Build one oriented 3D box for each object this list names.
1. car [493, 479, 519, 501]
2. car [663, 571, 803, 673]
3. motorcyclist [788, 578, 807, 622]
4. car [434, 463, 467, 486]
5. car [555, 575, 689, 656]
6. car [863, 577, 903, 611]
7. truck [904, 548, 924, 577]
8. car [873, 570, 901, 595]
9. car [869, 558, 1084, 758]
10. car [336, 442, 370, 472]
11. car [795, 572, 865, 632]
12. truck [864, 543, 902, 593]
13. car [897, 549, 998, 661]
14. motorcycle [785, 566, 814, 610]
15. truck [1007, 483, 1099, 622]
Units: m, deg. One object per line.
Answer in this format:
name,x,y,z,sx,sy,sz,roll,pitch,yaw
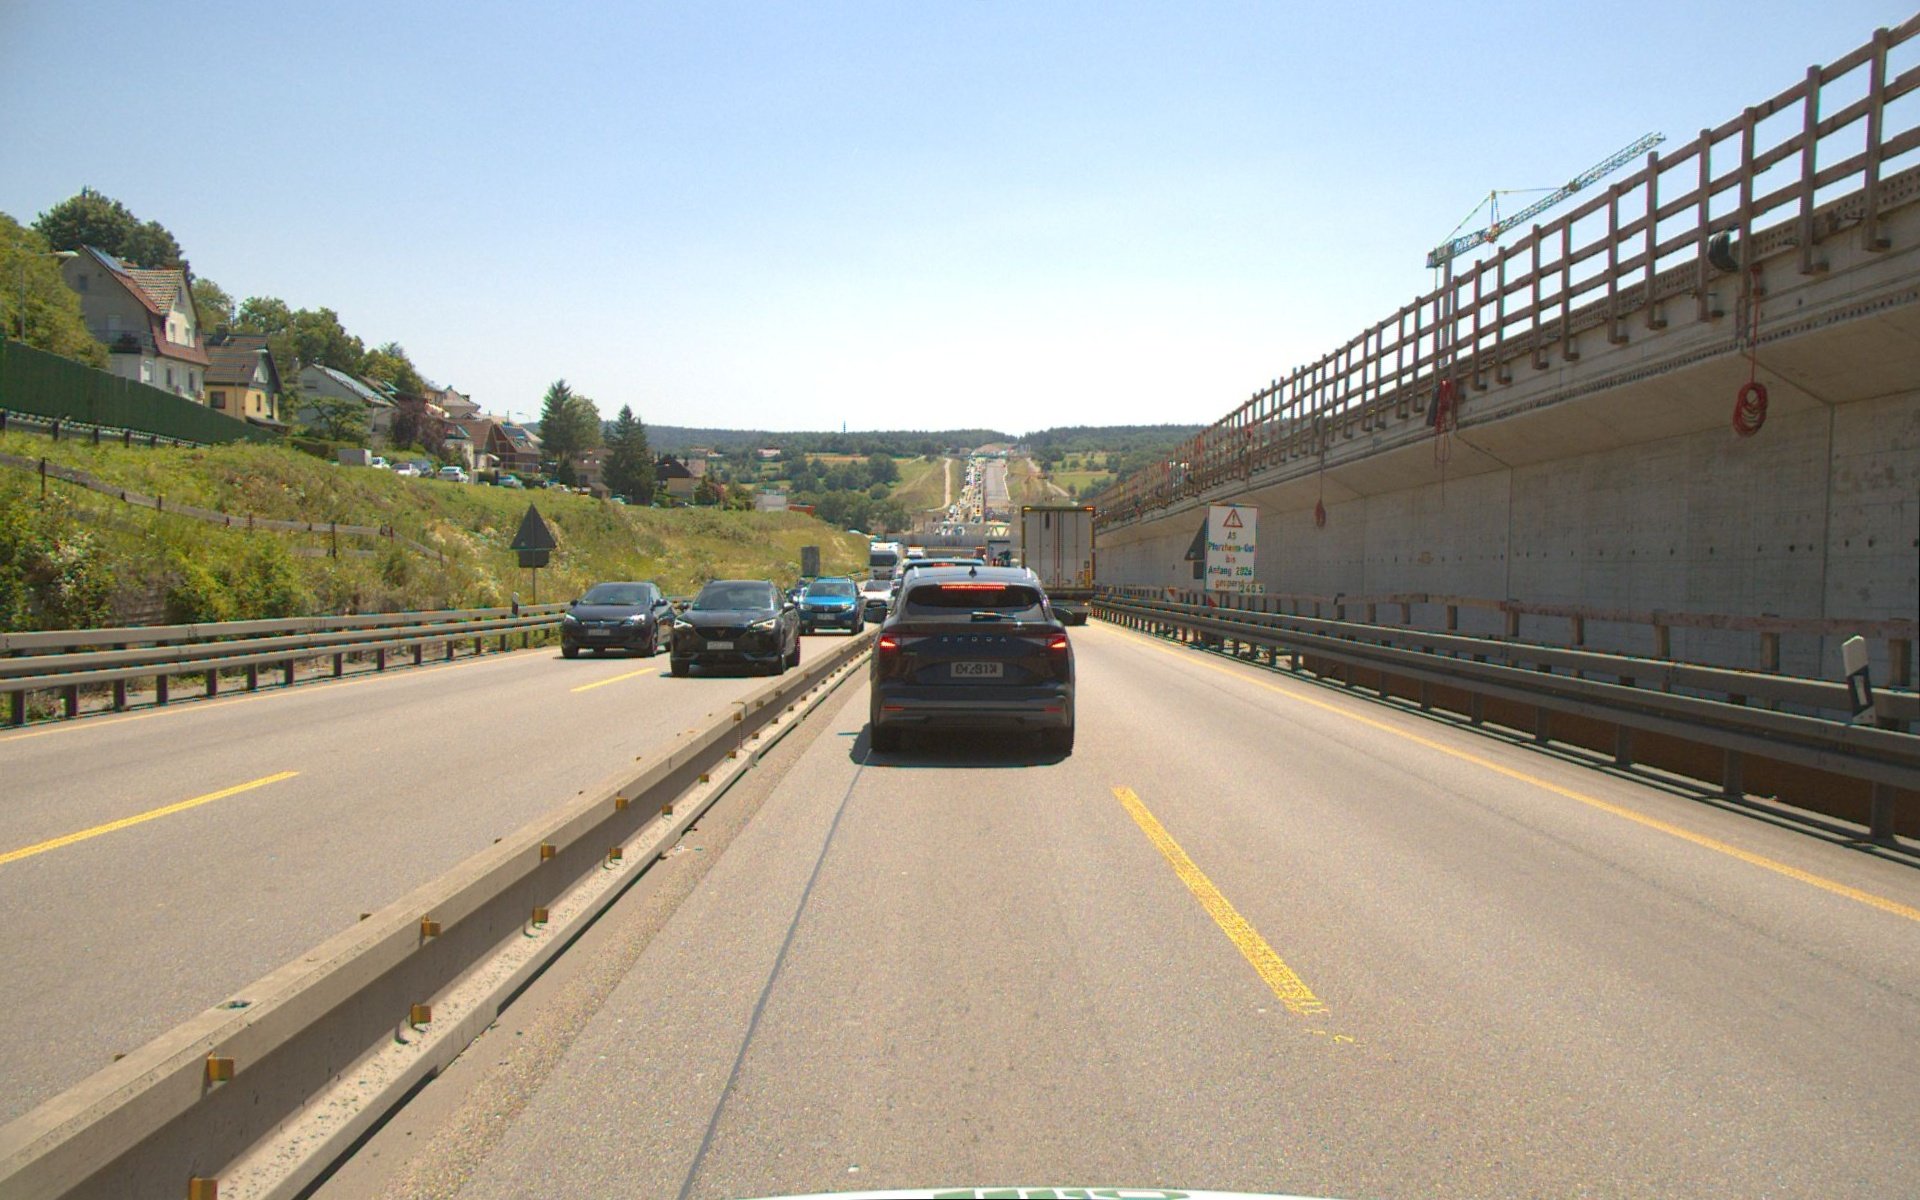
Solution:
car,-41.167,-9.918,149.931,1.890,1.758,3.990,0,1,-10
car,-3.723,0.344,27.815,1.805,1.557,4.293,1,0,-1
motorcyclist,-5.961,0.011,60.711,0.652,1.613,0.736,0,0,0
car,-40.162,-9.888,130.543,1.958,1.342,3.990,4,0,-11
car,-6.855,0.303,34.053,1.777,1.473,5.005,2,0,-1
car,-3.531,-0.278,76.401,1.730,1.512,3.864,0,1,-2
truck,-6.865,-5.572,246.853,2.696,4.301,8.100,1,0,0
car,-4.446,-1.081,101.566,1.657,1.512,3.749,0,1,-2
car,0.098,0.459,15.369,1.746,1.625,3.754,0,0,-1
car,-36.260,-8.512,98.872,1.701,1.422,3.782,2,0,-18
car,-3.688,0.029,47.486,1.728,1.638,3.892,0,1,0
truck,-6.923,-2.786,147.893,3.119,4.312,6.477,0,0,-6
car,-0.290,0.081,31.418,1.714,1.928,3.753,3,0,-2
motorcycle,-5.911,-0.452,61.002,0.774,1.578,2.621,1,1,0
truck,3.345,-1.608,62.194,2.787,4.696,11.811,1,0,0
